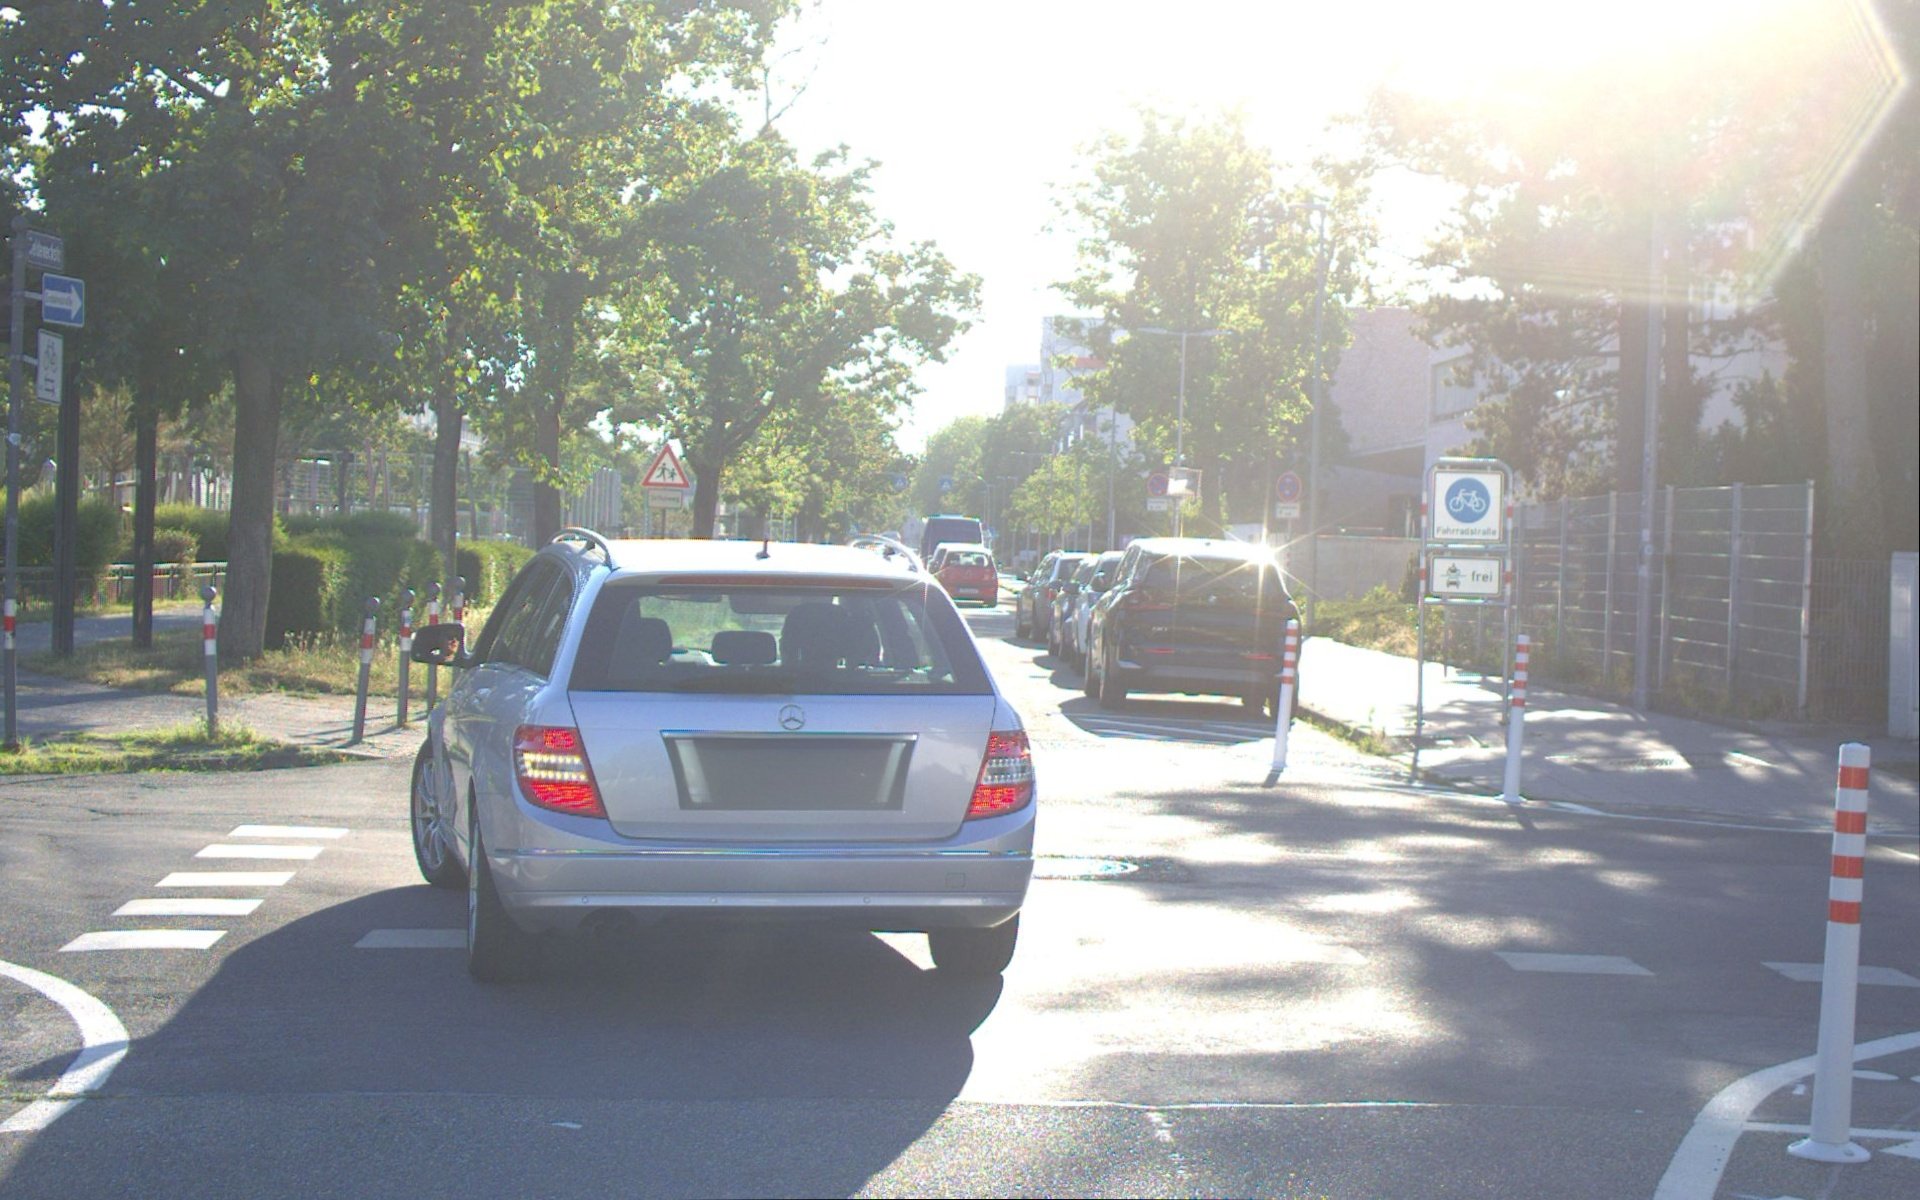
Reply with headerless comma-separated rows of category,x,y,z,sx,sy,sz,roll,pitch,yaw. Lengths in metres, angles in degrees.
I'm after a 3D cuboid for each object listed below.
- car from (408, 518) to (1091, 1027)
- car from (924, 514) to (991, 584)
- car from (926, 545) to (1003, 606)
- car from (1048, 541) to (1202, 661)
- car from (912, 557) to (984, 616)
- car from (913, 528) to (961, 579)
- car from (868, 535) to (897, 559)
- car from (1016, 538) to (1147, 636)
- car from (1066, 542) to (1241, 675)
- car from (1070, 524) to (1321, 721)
car,-0.931,0.469,12.149,1.816,1.468,4.218,1,1,-11
car,-0.101,-1.616,108.460,1.993,2.116,4.000,2,1,-1
car,0.093,-0.664,90.585,1.756,1.513,3.761,2,1,-3
car,2.205,-0.018,46.718,1.729,1.513,3.760,2,1,-2
car,-0.337,-0.380,94.483,1.729,1.513,3.761,2,1,-3
car,-0.988,-2.003,147.627,1.993,2.116,4.000,2,1,-1
car,-5.389,-3.691,238.094,1.865,1.612,4.000,2,1,-2
car,1.953,-0.236,56.123,1.765,1.521,3.773,1,1,-3
car,2.306,0.069,41.810,1.765,1.521,3.773,1,1,-2
car,2.176,0.170,32.882,1.817,1.636,4.217,4,1,-3
